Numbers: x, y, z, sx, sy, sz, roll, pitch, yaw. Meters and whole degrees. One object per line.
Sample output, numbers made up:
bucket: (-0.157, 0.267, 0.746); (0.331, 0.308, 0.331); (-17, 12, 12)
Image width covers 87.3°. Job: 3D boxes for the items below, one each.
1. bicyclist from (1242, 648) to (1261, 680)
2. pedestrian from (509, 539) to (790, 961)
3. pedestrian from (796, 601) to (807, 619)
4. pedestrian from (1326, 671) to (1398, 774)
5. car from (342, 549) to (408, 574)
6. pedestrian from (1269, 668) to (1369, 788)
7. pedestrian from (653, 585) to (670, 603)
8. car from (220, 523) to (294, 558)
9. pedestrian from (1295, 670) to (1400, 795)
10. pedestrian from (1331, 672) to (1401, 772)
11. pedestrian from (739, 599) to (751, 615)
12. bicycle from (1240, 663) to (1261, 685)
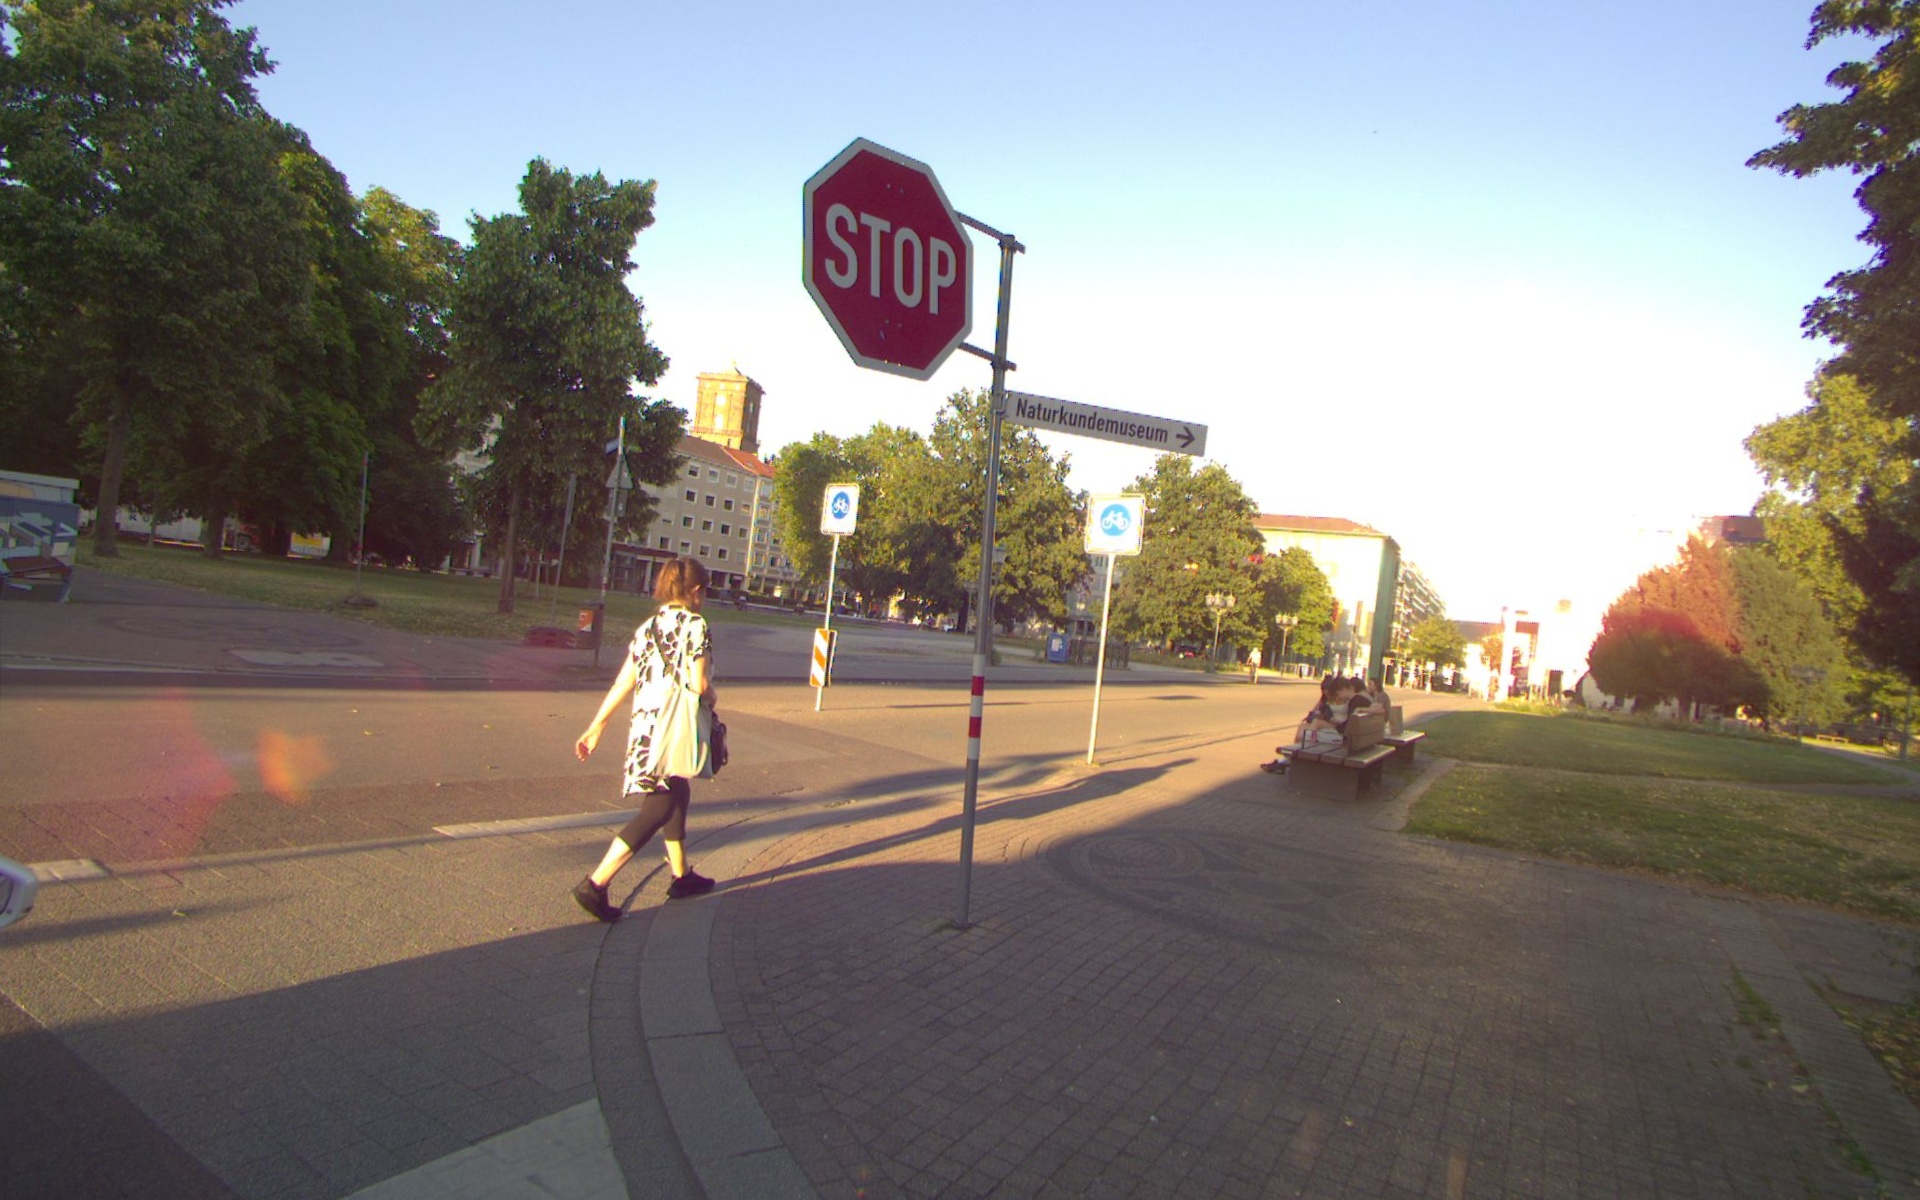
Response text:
bicyclist: (13.706, 3.009, 47.321); (0.630, 1.461, 0.695); (6, 0, 25)
pedestrian: (-1.434, 0.638, 4.693); (0.822, 1.710, 0.735); (6, 0, 31)
pedestrian: (-10.361, 0.631, 65.664); (0.610, 1.091, 0.511); (6, 0, -9)
pedestrian: (5.807, 1.748, 14.534); (0.804, 1.358, 0.598); (6, 0, 26)
car: (-42.328, -2.767, 72.802); (1.964, 1.255, 3.583); (6, -1, 25)
pedestrian: (4.269, 1.507, 12.011); (0.857, 1.277, 0.598); (6, 0, 0)
pedestrian: (-20.570, -0.423, 69.304); (0.893, 1.091, 0.614); (6, 0, -42)
car: (-53.354, -4.485, 76.447); (1.967, 2.038, 4.036); (6, -1, 32)
pedestrian: (4.359, 1.478, 11.356); (0.803, 1.253, 0.683); (6, 0, 1)
pedestrian: (6.105, 1.813, 15.120); (0.804, 1.358, 0.598); (6, 0, 26)
pedestrian: (-14.075, 0.470, 65.859); (0.609, 0.936, 0.512); (6, 0, 6)
bicycle: (13.671, 3.492, 47.356); (0.630, 0.953, 1.463); (6, 0, 24)
